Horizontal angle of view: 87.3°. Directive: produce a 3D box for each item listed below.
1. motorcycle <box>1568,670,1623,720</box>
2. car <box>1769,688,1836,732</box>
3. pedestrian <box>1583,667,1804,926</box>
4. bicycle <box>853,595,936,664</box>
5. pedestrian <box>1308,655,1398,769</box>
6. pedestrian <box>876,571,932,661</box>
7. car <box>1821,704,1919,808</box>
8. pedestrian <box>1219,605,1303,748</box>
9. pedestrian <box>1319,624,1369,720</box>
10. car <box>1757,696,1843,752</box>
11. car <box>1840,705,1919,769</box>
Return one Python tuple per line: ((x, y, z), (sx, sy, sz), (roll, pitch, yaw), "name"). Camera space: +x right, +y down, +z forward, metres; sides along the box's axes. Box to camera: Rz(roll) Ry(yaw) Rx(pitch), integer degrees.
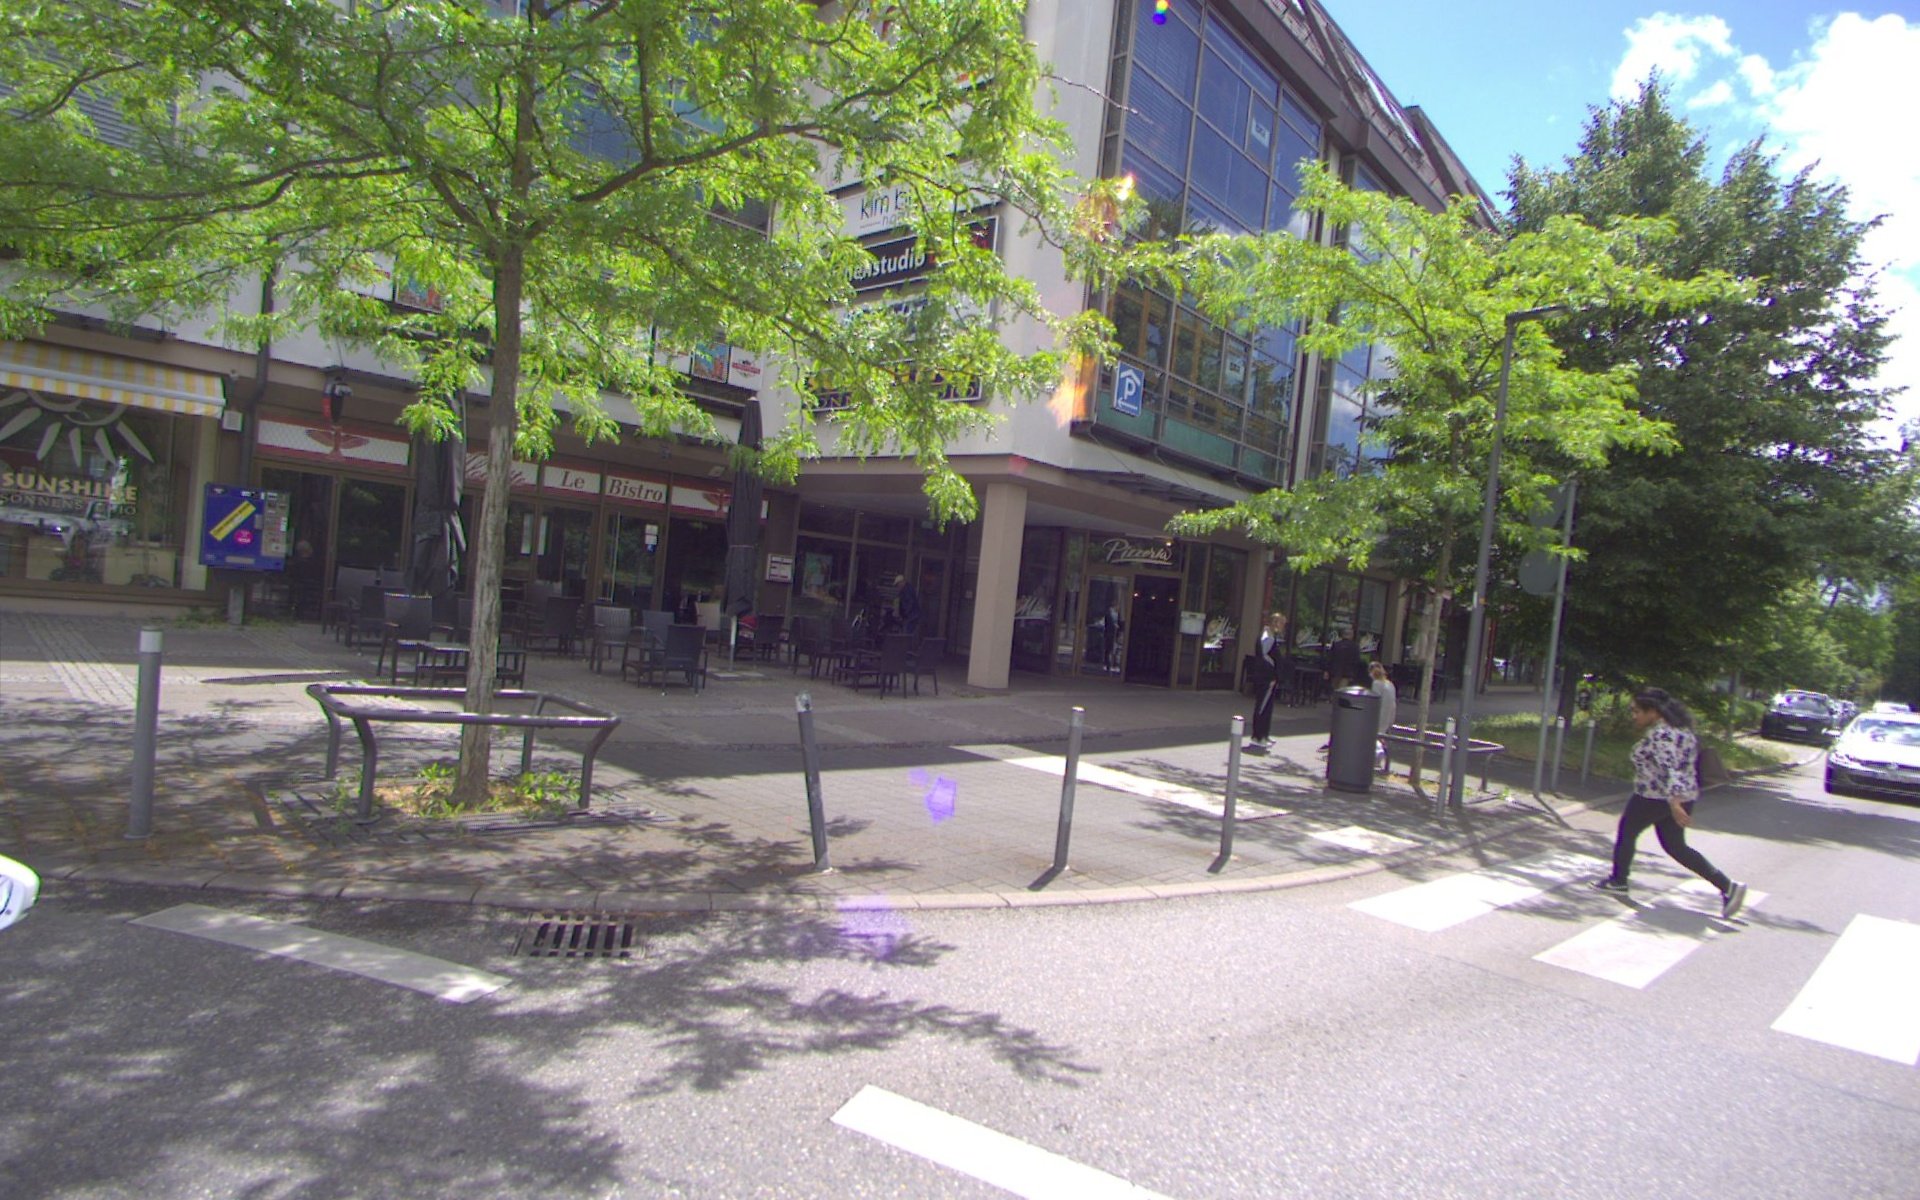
((18.501, 2.761, 29.275), (0.846, 1.308, 2.174), (7, 1, 43), "motorcycle")
((36.661, 4.773, 43.817), (1.971, 1.527, 4.564), (8, 1, 40), "car")
((5.052, 1.321, 6.990), (0.752, 1.573, 0.779), (7, 1, -2), "pedestrian")
((-1.318, 0.591, 20.161), (1.516, 1.182, 0.495), (7, 0, -6), "bicycle")
((4.935, 1.406, 12.647), (0.612, 1.301, 0.691), (6, 2, -37), "pedestrian")
((-1.122, 0.319, 20.117), (0.608, 1.696, 0.694), (8, 2, 40), "pedestrian")
((16.887, 2.770, 18.102), (1.972, 1.526, 4.563), (5, -1, 41), "car")
((4.105, 1.036, 13.732), (0.613, 1.842, 0.689), (4, 3, -44), "pedestrian")
((7.201, 1.333, 18.858), (0.606, 1.696, 0.697), (8, 2, 28), "pedestrian")
((29.377, 4.301, 35.141), (1.973, 1.527, 4.561), (8, 1, 43), "car")
((27.610, 4.033, 29.814), (1.971, 1.526, 4.565), (7, 0, 39), "car")
